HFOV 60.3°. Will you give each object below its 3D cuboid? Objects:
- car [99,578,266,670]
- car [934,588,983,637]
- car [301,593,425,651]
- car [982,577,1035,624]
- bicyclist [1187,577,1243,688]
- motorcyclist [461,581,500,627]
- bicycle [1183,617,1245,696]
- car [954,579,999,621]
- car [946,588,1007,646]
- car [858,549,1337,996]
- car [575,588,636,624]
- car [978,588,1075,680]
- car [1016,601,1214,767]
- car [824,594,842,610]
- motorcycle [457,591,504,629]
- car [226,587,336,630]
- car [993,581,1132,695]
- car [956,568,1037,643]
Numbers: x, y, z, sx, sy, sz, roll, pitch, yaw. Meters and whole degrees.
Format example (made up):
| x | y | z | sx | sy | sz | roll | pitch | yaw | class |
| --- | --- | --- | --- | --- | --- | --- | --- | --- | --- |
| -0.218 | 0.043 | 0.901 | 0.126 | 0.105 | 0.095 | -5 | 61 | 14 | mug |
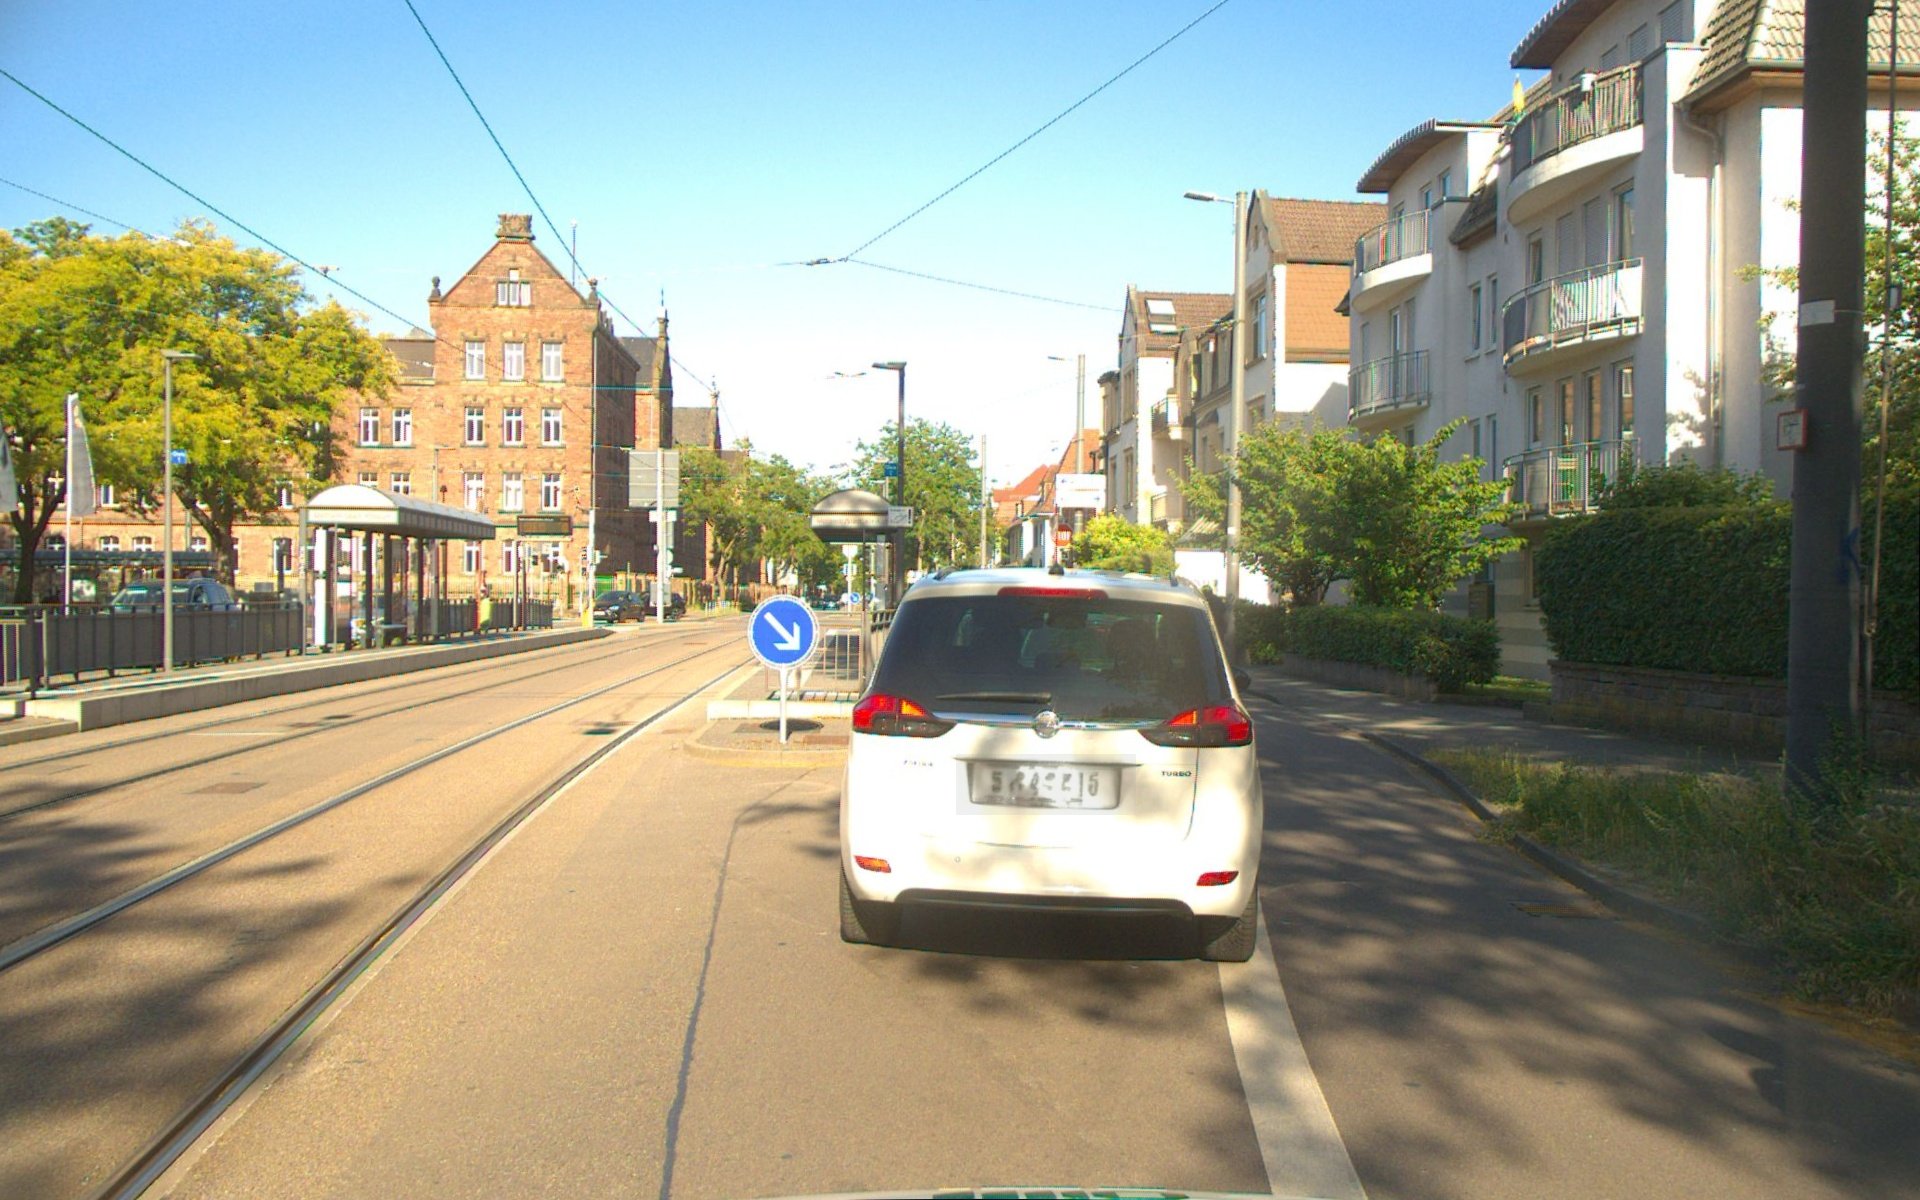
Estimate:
| x | y | z | sx | sy | sz | roll | pitch | yaw | class |
| --- | --- | --- | --- | --- | --- | --- | --- | --- | --- |
| -15.123 | 0.417 | 32.401 | 1.762 | 1.666 | 4.112 | -1 | 0 | -7 | car |
| -0.085 | 0.457 | 61.381 | 1.740 | 1.722 | 3.879 | 1 | 0 | -1 | car |
| -15.646 | 0.529 | 43.593 | 1.846 | 1.440 | 4.621 | 0 | 0 | -4 | car |
| 1.787 | 0.009 | 61.424 | 1.740 | 1.660 | 3.879 | 1 | 0 | -1 | car |
| 3.932 | 0.498 | 25.534 | 0.672 | 1.663 | 1.015 | 1 | 0 | -1 | bicyclist |
| -16.519 | 0.132 | 57.037 | 1.103 | 1.552 | 1.053 | 1 | 0 | -7 | motorcyclist |
| 3.925 | 0.855 | 25.612 | 0.671 | 1.177 | 1.619 | 1 | 0 | -1 | bicycle |
| 0.660 | 0.020 | 68.543 | 1.740 | 1.660 | 3.879 | 1 | 0 | -1 | car |
| 0.463 | 0.503 | 50.065 | 1.740 | 1.660 | 3.880 | 1 | 0 | -1 | car |
| 0.440 | 0.664 | 8.206 | 1.798 | 1.670 | 3.916 | 1 | 0 | -3 | car |
| -15.989 | 0.280 | 74.794 | 1.953 | 1.573 | 3.999 | 1 | 0 | -1 | car |
| 1.251 | 0.636 | 32.451 | 1.739 | 1.660 | 3.880 | 1 | 0 | 0 | car |
| 1.447 | 0.750 | 16.689 | 1.554 | 1.445 | 3.899 | 0 | 0 | -1 | car |
| -13.813 | 0.243 | 179.634 | 1.868 | 1.706 | 4.355 | 1 | 0 | -3 | car |
| -16.516 | 0.347 | 57.006 | 1.108 | 1.265 | 2.569 | 1 | 0 | -7 | motorcycle |
| -27.992 | 0.349 | 68.304 | 3.780 | 1.689 | 1.750 | 1 | 0 | -1 | car |
| 1.549 | 0.567 | 26.314 | 1.740 | 1.660 | 3.878 | 1 | 0 | -3 | car |
| 0.810 | 0.131 | 39.104 | 1.740 | 1.660 | 3.879 | 1 | 0 | -1 | car |
